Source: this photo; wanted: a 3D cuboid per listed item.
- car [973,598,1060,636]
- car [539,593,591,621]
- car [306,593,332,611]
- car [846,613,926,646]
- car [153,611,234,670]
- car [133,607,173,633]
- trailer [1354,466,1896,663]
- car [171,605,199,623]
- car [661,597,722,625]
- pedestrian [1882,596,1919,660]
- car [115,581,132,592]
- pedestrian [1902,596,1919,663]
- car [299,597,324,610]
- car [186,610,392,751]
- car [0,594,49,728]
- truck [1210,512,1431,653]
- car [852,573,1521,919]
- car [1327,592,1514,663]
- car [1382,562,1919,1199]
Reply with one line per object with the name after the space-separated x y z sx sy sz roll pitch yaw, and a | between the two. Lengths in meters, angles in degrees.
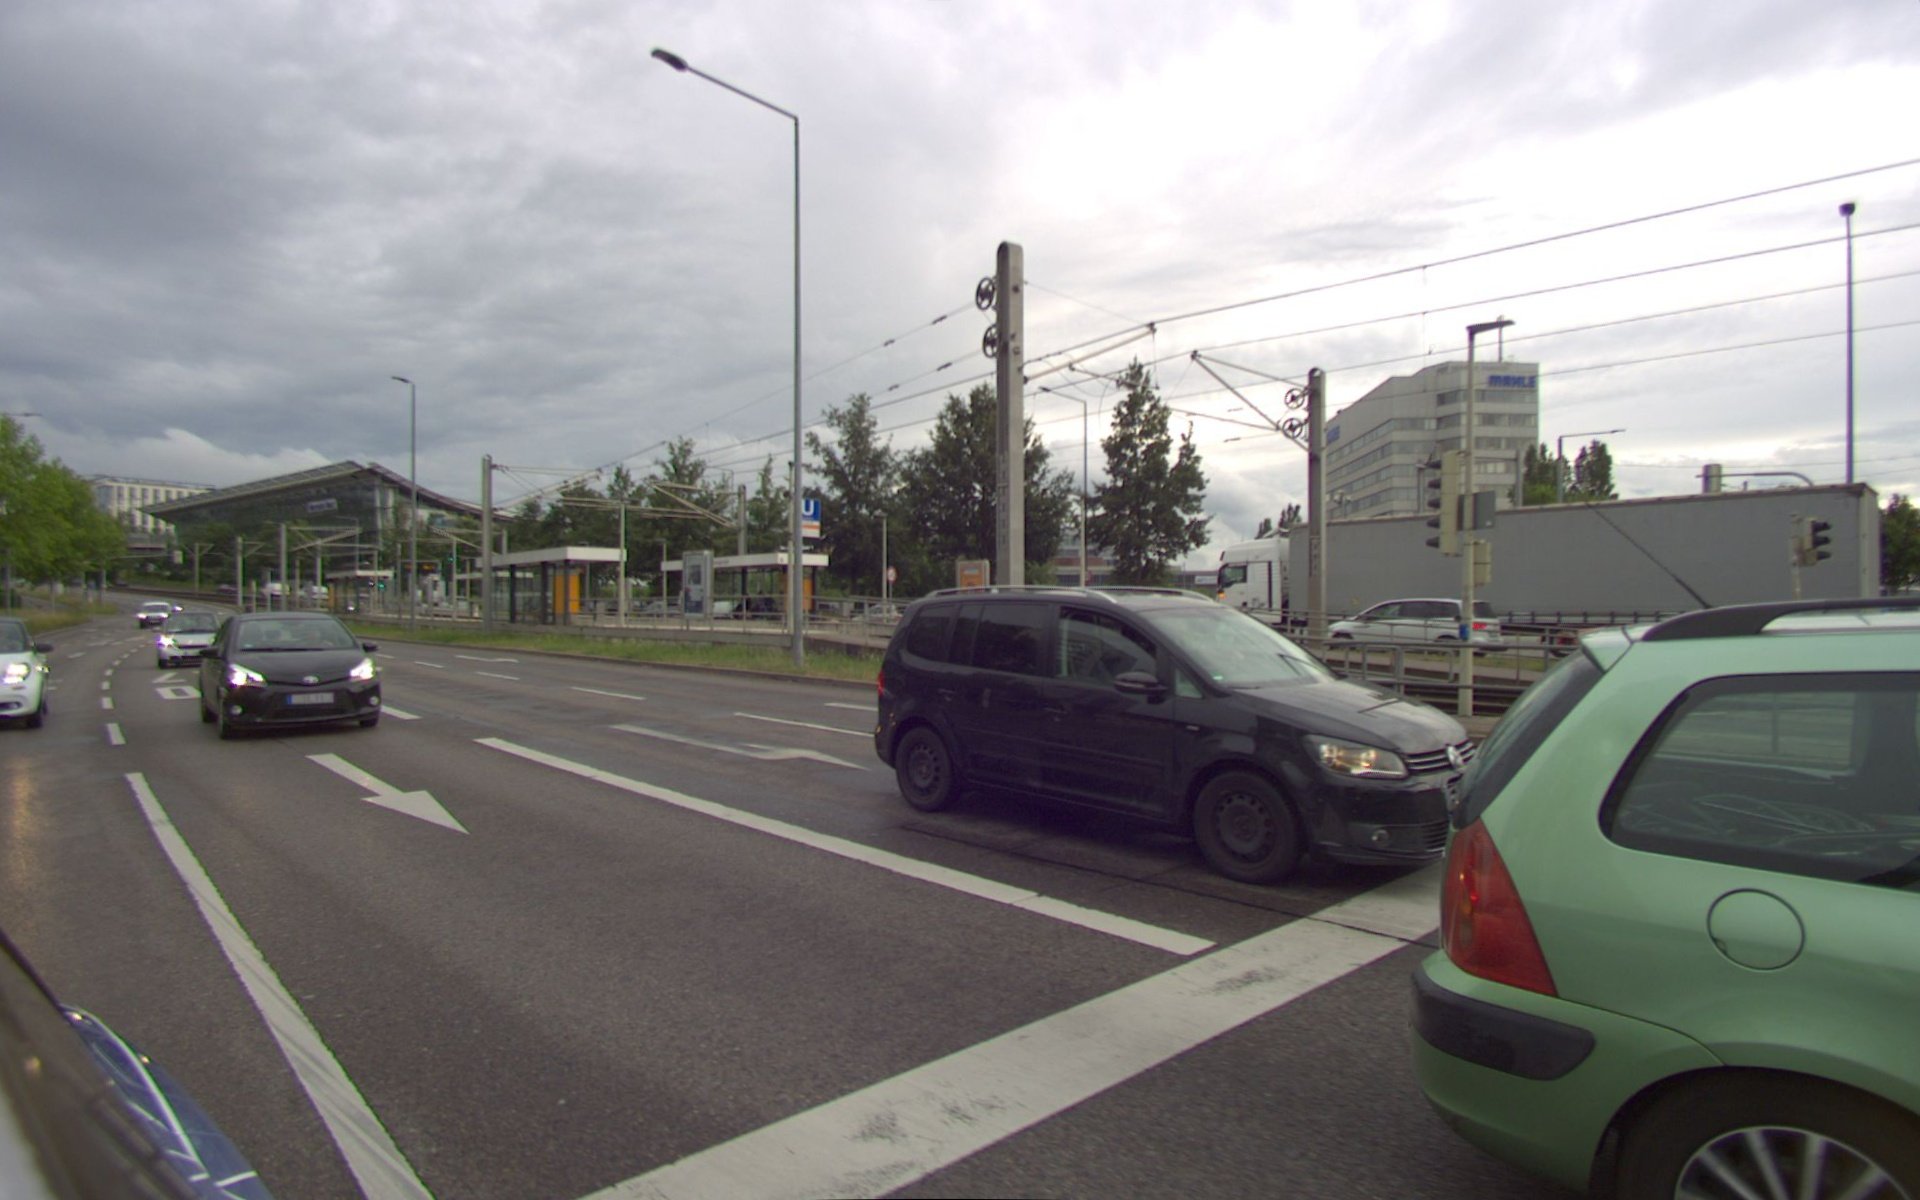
2.604 0.760 47.220 1.553 1.639 4.087 -3 2 -43 | car
-24.880 0.416 63.679 1.510 1.679 4.272 -3 2 -44 | car
-80.992 0.243 127.895 1.969 2.231 5.151 -3 2 -41 | car
-3.716 1.435 50.150 1.718 1.473 4.157 -3 2 -43 | car
-21.867 1.098 28.845 1.713 1.489 4.008 -2 1 -38 | car
-56.982 1.379 71.520 1.800 1.723 4.164 -2 2 -34 | car
16.429 -0.621 26.402 2.760 4.139 11.457 1 -2 -41 | trailer
-68.969 1.240 90.146 1.674 1.534 3.835 -1 1 -33 | car
-15.847 0.635 59.613 1.766 1.514 4.005 -3 2 -42 | car
25.568 0.748 27.490 0.717 1.675 0.739 -2 1 -45 | pedestrian
-153.590 -2.432 185.850 1.970 1.861 4.003 -3 2 -44 | car
25.079 0.768 26.391 0.717 1.718 0.739 -2 1 -45 | pedestrian
-88.401 0.438 137.914 1.970 1.744 5.036 -3 2 -42 | car
-8.943 0.958 13.344 1.672 1.534 3.909 -1 -1 -42 | car
-14.141 0.837 14.275 1.778 1.736 4.006 0 -1 -40 | car
11.330 -0.446 32.224 2.797 4.026 5.995 0 -1 -41 | truck
1.236 0.696 6.900 1.706 1.604 4.197 -3 1 -43 | car
12.075 0.662 26.712 1.864 1.664 4.100 -3 2 -42 | car
3.209 0.653 1.625 4.396 1.479 1.679 -1 2 37 | car
